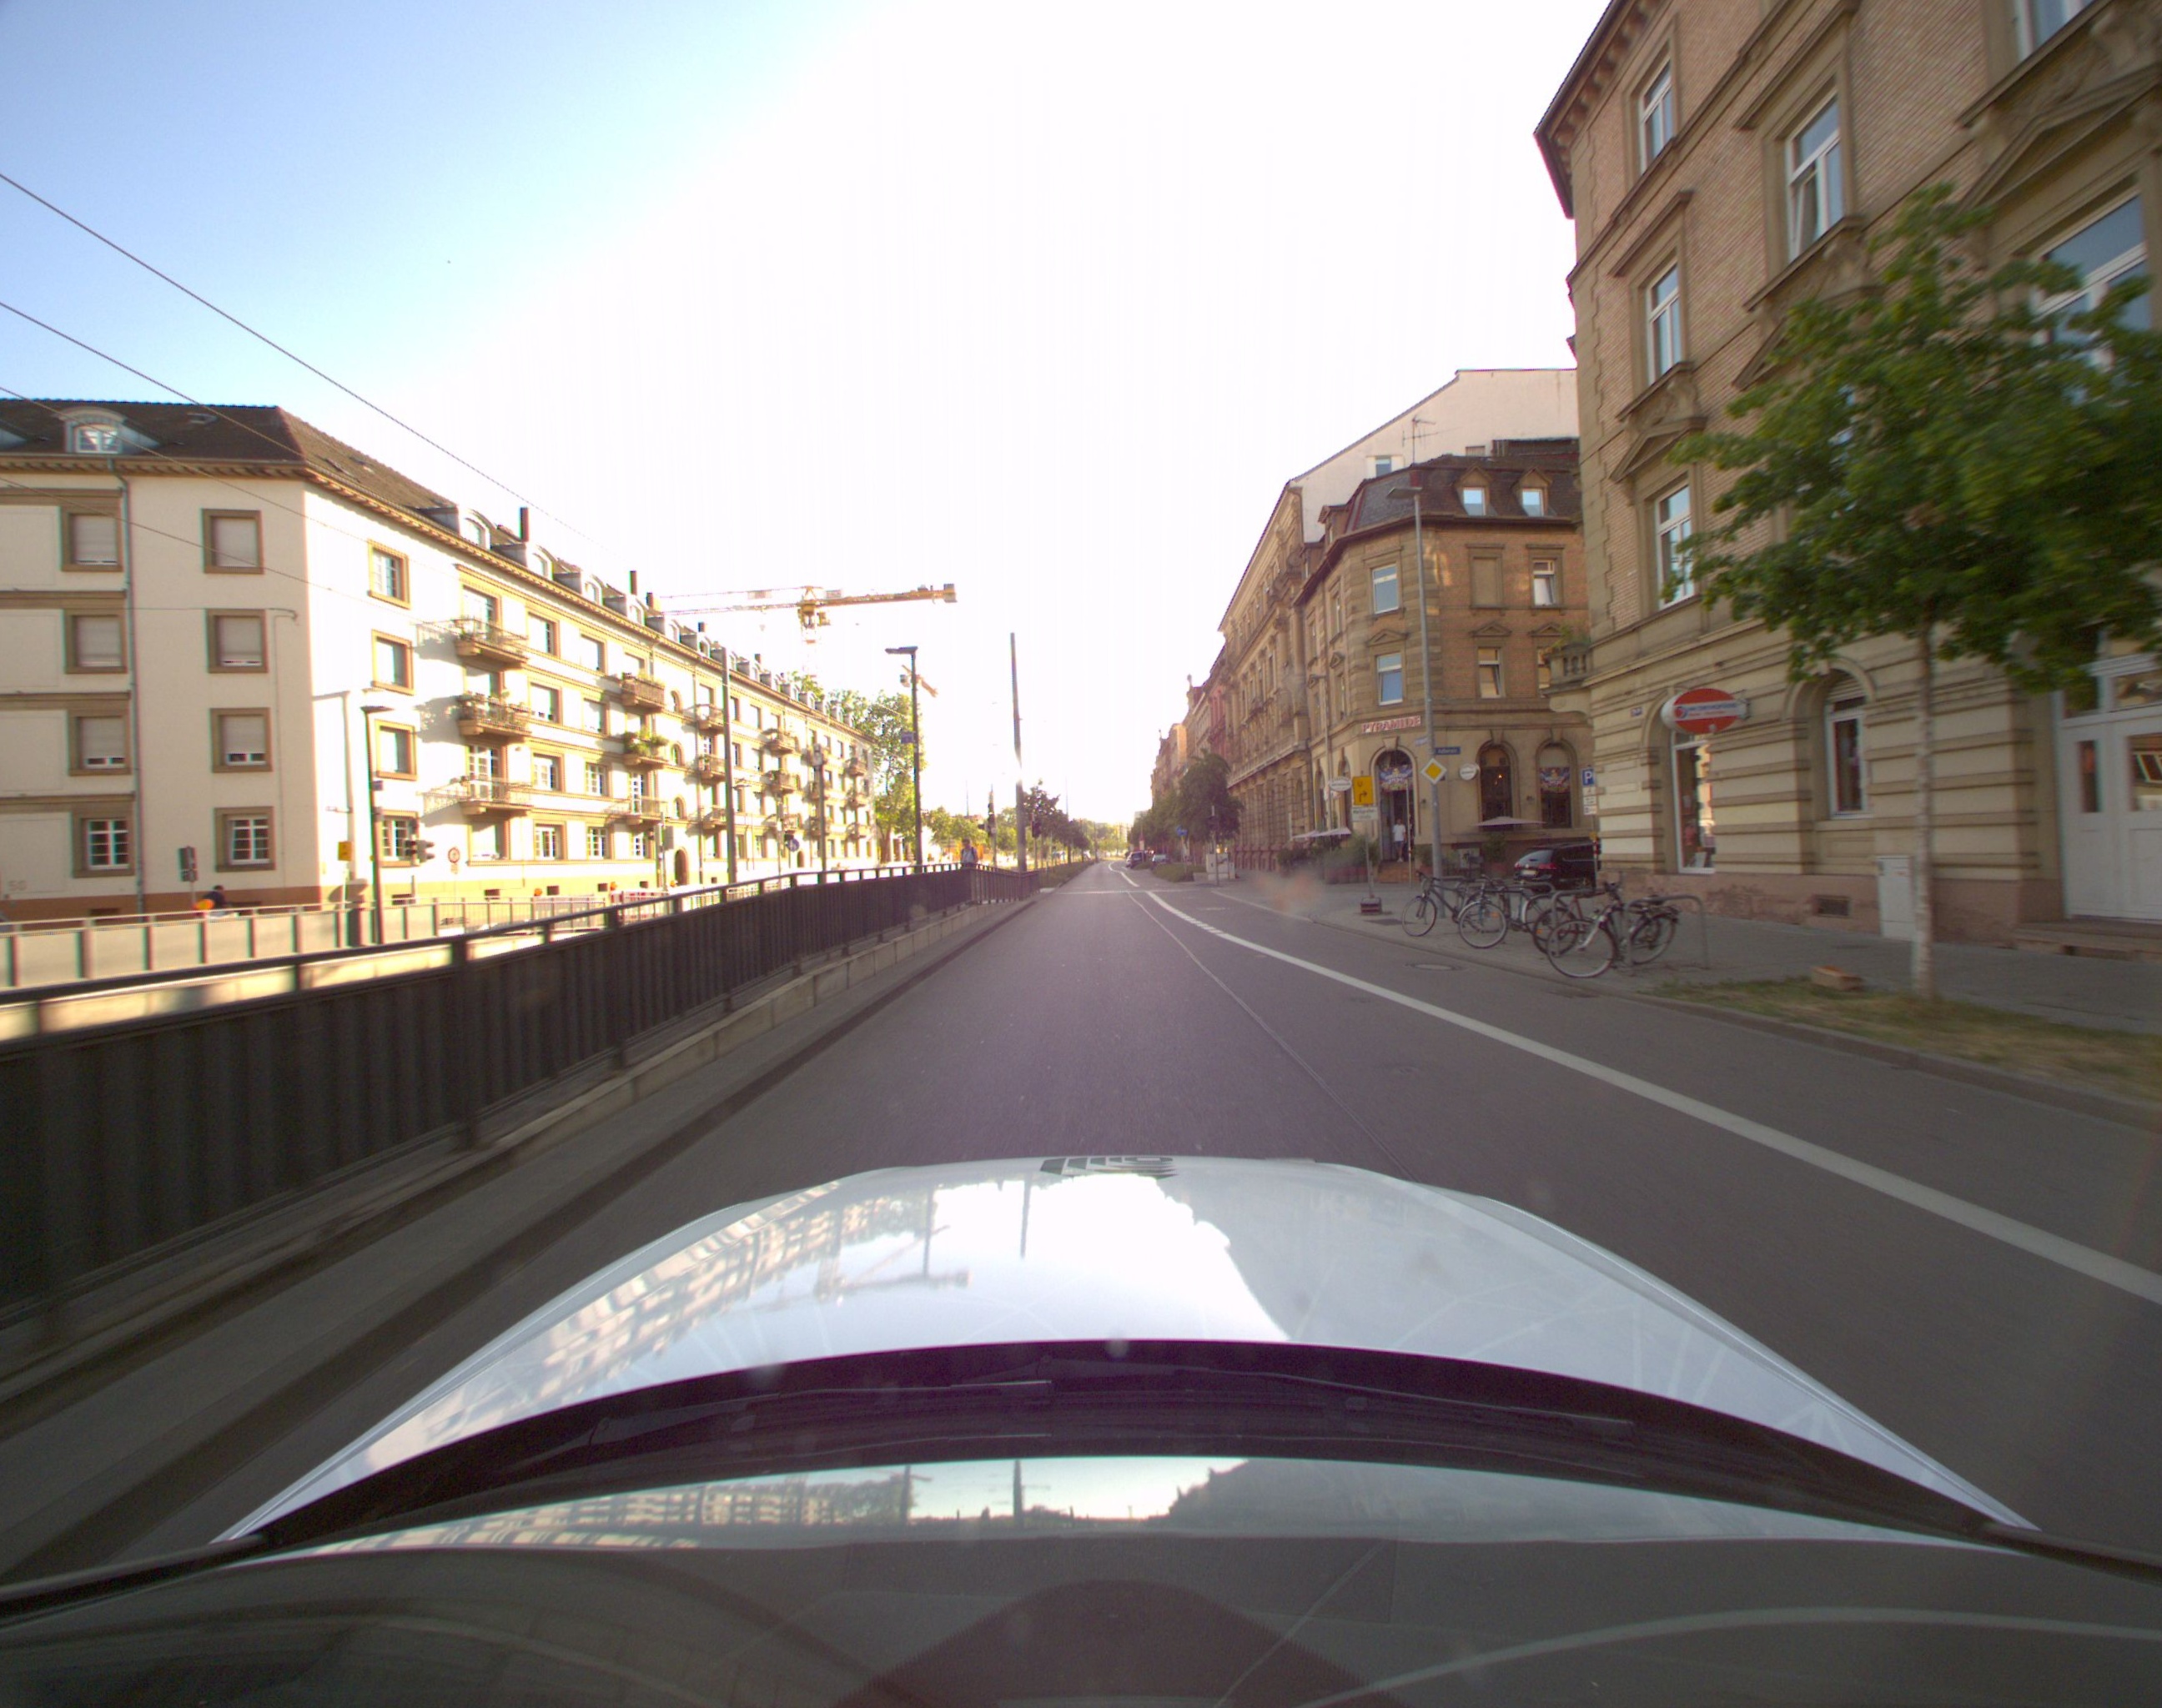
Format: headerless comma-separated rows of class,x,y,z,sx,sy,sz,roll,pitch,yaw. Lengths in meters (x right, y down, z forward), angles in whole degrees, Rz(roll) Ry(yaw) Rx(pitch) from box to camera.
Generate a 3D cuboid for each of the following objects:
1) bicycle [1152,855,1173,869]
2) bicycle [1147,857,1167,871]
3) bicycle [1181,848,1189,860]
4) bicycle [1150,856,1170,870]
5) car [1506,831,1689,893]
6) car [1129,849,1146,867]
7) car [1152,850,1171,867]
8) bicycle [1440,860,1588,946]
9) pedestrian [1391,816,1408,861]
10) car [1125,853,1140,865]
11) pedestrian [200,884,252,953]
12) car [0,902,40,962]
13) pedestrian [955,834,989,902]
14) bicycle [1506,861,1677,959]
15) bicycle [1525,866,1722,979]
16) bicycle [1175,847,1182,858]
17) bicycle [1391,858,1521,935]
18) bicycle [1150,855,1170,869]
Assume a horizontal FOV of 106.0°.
bicycle,7.143,0.707,71.051,1.689,1.048,0.488,-4,0,-7
bicycle,6.934,0.912,74.058,1.685,1.048,0.490,-6,0,1
bicycle,13.107,-0.047,102.663,0.658,1.402,2.353,-3,1,1
bicycle,6.789,0.745,69.766,1.574,1.048,0.488,-4,0,-7
car,13.901,0.208,22.005,4.142,1.388,1.612,-3,-1,-10
car,6.665,0.490,96.205,1.877,1.937,4.477,-3,1,3
car,7.816,0.399,79.388,1.630,1.486,4.217,-5,1,4
bicycle,6.451,0.709,12.176,1.822,1.064,0.663,-6,1,-4
pedestrian,12.398,-0.608,31.711,0.442,1.740,0.546,-3,0,29
car,6.887,0.623,109.380,1.842,1.457,4.160,-3,1,3
pedestrian,-26.328,1.981,25.088,0.797,2.013,0.625,-3,1,1
car,-30.579,2.244,21.132,1.833,1.585,4.125,-3,1,-4
pedestrian,-2.725,0.340,20.406,0.652,1.643,0.867,-2,-1,1
bicycle,6.738,0.715,10.786,1.822,1.064,0.663,-6,1,-4
bicycle,6.246,0.761,9.421,1.822,1.064,0.663,-6,1,-4
bicycle,13.595,-0.241,114.038,0.658,1.402,2.353,-3,1,1
bicycle,6.271,0.696,13.653,1.822,1.064,0.663,-6,1,-4
bicycle,6.924,0.711,71.592,1.574,1.048,0.488,-4,0,-7
